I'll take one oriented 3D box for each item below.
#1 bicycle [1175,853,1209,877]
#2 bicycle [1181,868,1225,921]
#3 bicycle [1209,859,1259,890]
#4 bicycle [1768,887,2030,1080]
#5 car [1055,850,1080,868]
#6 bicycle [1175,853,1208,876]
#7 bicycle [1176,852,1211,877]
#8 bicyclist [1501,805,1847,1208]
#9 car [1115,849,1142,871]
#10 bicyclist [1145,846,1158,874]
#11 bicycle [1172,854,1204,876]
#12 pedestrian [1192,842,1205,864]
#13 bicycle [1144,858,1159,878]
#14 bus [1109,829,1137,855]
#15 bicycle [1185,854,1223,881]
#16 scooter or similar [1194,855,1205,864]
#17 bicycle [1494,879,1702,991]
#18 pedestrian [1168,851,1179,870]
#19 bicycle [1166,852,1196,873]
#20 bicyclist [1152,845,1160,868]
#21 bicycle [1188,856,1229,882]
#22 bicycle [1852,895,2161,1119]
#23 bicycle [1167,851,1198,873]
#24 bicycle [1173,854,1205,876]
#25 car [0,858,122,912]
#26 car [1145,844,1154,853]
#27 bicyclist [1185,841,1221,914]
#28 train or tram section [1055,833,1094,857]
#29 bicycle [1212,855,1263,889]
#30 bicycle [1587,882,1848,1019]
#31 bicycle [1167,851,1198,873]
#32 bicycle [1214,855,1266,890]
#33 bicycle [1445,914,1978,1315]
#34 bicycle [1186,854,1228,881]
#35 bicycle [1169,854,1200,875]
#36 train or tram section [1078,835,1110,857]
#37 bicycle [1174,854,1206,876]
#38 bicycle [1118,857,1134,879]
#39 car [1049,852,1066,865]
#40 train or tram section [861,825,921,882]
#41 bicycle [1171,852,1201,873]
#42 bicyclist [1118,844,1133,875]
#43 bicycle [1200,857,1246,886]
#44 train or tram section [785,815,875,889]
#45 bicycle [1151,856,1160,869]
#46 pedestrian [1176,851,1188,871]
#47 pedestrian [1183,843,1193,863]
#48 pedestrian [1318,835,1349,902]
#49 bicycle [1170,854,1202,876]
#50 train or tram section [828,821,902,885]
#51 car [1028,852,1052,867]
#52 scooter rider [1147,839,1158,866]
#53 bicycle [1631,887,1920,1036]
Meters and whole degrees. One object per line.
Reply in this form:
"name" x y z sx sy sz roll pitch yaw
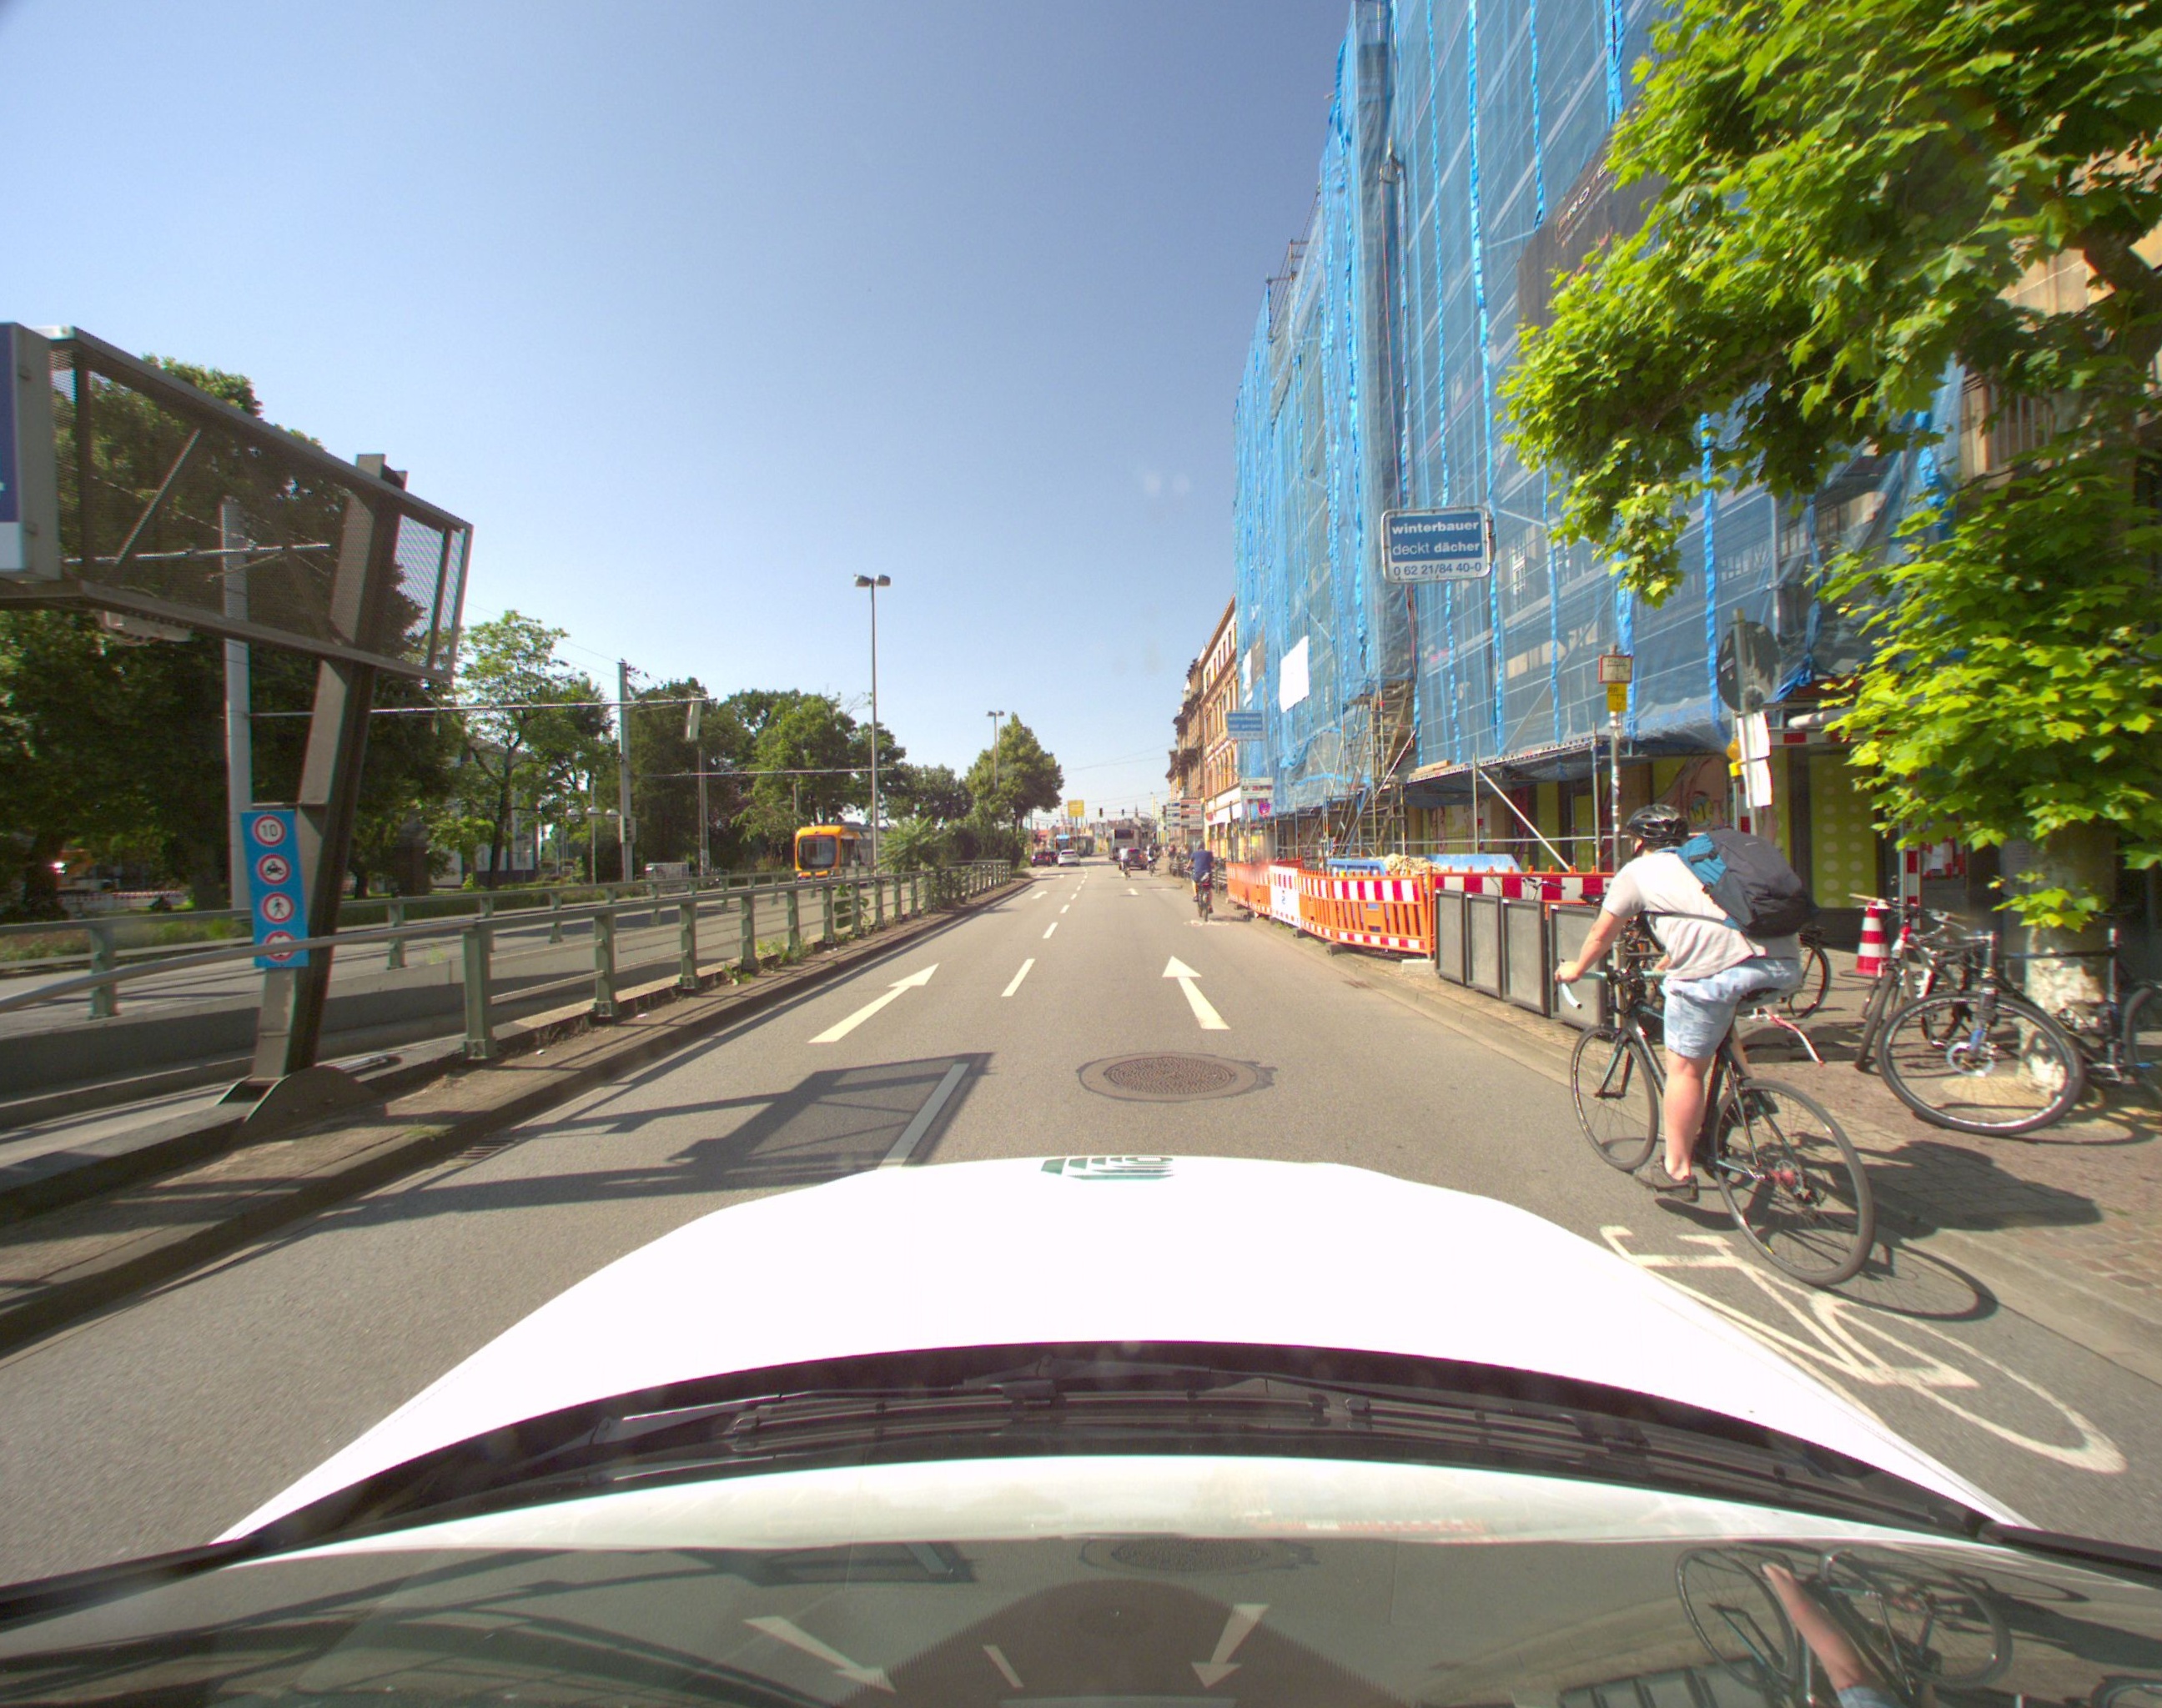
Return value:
"bicycle" 5.666 0.554 41.533 1.687 1.178 0.498 0 0 2
"bicycle" 2.740 0.885 18.443 0.731 1.093 1.911 0 0 1
"bicycle" 5.497 0.723 29.334 1.687 1.097 0.609 0 0 2
"bicycle" 5.195 0.757 5.157 1.759 1.018 0.479 -1 0 -21
"car" -1.129 0.392 70.340 1.851 1.507 4.003 0 0 3
"bicycle" 5.709 0.556 42.077 1.687 1.178 0.491 0 0 2
"bicycle" 5.656 0.521 40.843 1.687 1.241 0.609 0 0 2
"bicyclist" 2.462 0.558 3.544 0.686 1.463 1.143 0 0 0
"car" 3.387 0.400 58.039 1.866 1.492 4.003 0 0 3
"bicyclist" 4.027 0.341 46.634 0.686 1.577 1.049 0 0 0
"bicycle" 5.797 0.589 44.281 1.687 1.178 0.514 0 0 2
"pedestrian" 8.847 -0.069 61.351 0.753 1.656 0.837 -5 -1 1
"bicycle" 4.019 0.784 46.706 0.731 1.093 1.898 0 0 1
"bus" 4.780 -1.268 92.177 2.956 2.776 8.649 0 0 3
"bicycle" 5.634 0.612 37.298 1.687 1.178 0.609 0 0 2
"scooter or similar" 8.833 0.409 60.774 0.689 0.650 0.565 -5 -1 1
"bicycle" 5.088 0.786 8.066 1.747 1.018 0.483 -1 0 -1
"pedestrian" 8.222 0.610 72.408 0.859 1.640 0.875 -2 -1 0
"bicycle" 5.885 0.522 48.208 1.687 1.178 0.609 -2 0 2
"bicyclist" 6.473 0.218 70.325 0.685 1.962 0.778 0 0 2
"bicycle" 5.451 0.639 34.912 1.687 1.087 0.609 0 0 2
"bicycle" 5.061 0.750 4.181 1.747 1.018 0.483 -1 0 -1
"bicycle" 5.870 0.476 46.920 1.687 1.178 0.609 -2 0 2
"bicycle" 5.792 0.582 43.685 1.687 1.178 0.457 0 -1 2
"car" -67.680 1.963 53.809 2.119 3.316 5.421 0 0 1
"car" 16.011 -1.231 189.972 1.985 1.878 4.004 -2 0 4
"bicyclist" 2.742 0.514 18.380 0.686 1.616 0.918 0 0 1
"train or tram section" -0.994 -1.361 129.276 2.799 3.581 10.082 0 0 20
"bicycle" 5.469 0.626 28.589 1.687 1.178 0.609 0 0 2
"bicycle" 5.166 0.767 6.658 1.747 1.018 0.483 -1 0 -1
"bicycle" 5.905 0.483 47.574 1.687 1.178 0.609 -4 0 2
"bicycle" 5.437 0.623 27.906 1.687 1.178 0.609 0 0 2
"bicycle" 2.439 0.887 3.601 0.731 1.093 2.131 0 0 1
"bicycle" 5.605 0.615 36.304 1.764 1.178 0.609 0 0 2
"bicycle" 5.838 0.611 45.914 1.687 1.178 0.470 0 -1 1
"train or tram section" 2.245 -1.314 137.961 2.799 3.581 8.267 0 0 20
"bicycle" 5.769 0.572 43.146 1.687 1.178 0.463 0 -1 2
"bicycle" 2.282 0.722 41.891 0.731 1.093 1.898 0 0 1
"car" -2.444 0.503 84.203 1.445 1.300 4.003 0 0 3
"train or tram section" -12.599 -0.034 54.379 2.604 3.581 5.359 0 0 2
"bicycle" 5.967 0.455 46.321 1.687 1.178 0.470 0 -1 1
"bicyclist" 2.292 0.262 41.855 0.686 1.577 1.049 0 0 0
"bicycle" 5.599 0.691 32.144 1.732 1.109 0.609 0 0 2
"train or tram section" -12.948 -0.070 42.573 2.604 3.581 6.105 0 0 2
"bicycle" 6.458 0.748 70.313 0.731 1.093 1.900 0 0 4
"pedestrian" 8.753 0.609 70.708 0.859 1.640 0.875 -2 -1 0
"pedestrian" 8.770 -0.057 66.834 0.652 1.620 0.815 -2 1 0
"pedestrian" 6.881 0.392 22.215 0.637 1.776 0.649 0 0 1
"bicycle" 5.842 0.598 45.364 1.687 1.178 0.460 0 -1 2
"train or tram section" -12.784 -0.052 48.657 2.604 3.581 6.105 0 0 2
"car" -3.747 0.457 74.957 1.808 1.332 4.003 0 0 3
"scooter rider" 4.566 -0.083 51.865 0.685 1.729 0.778 0 0 2
"bicycle" 5.157 0.781 6.098 1.747 1.018 0.483 -1 0 -1
